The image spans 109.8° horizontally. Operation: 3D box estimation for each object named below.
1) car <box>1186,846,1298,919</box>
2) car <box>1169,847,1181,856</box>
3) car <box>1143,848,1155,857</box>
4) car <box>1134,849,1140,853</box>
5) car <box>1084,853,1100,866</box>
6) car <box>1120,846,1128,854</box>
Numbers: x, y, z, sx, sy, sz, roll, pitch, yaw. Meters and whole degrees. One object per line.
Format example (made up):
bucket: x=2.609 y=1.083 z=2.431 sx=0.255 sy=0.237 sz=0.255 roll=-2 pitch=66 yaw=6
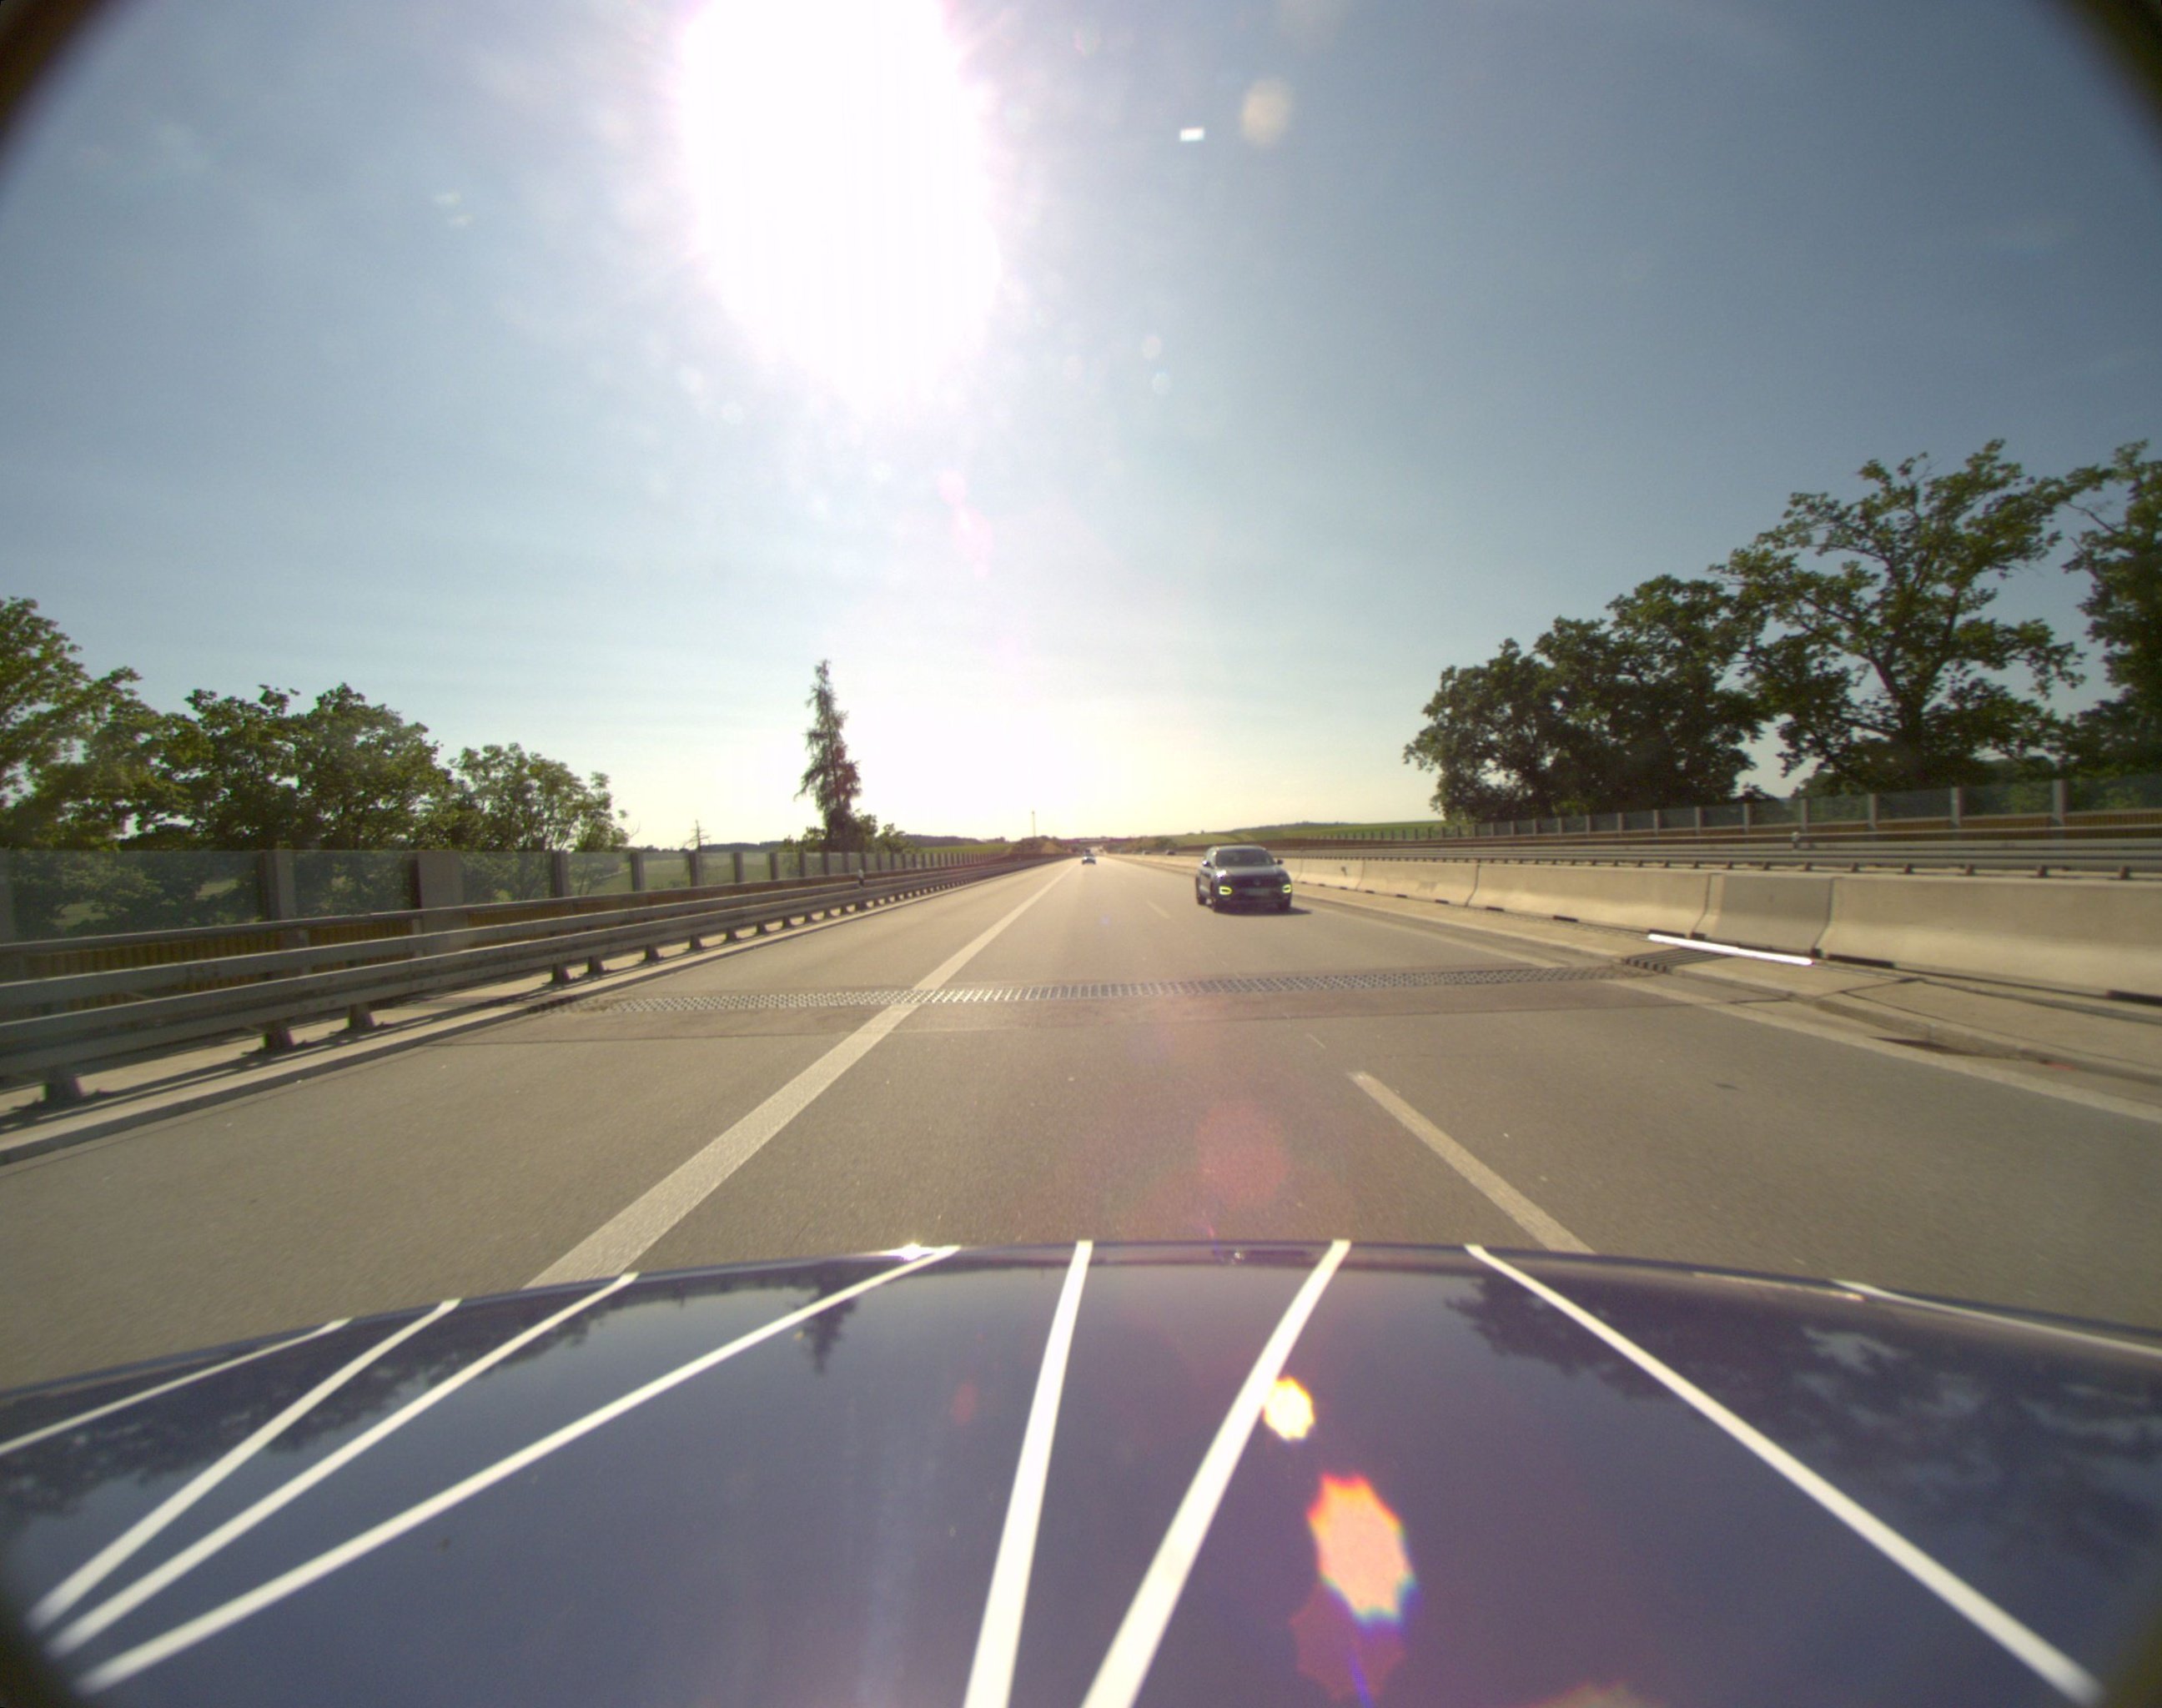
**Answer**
car: x=3.958 y=0.626 z=19.528 sx=1.776 sy=1.560 sz=4.988 roll=-2 pitch=0 yaw=0
car: x=16.482 y=-0.401 z=133.738 sx=1.583 sy=1.449 sz=4.449 roll=-2 pitch=0 yaw=0
car: x=12.340 y=-0.289 z=138.861 sx=1.731 sy=1.494 sz=4.624 roll=-2 pitch=0 yaw=0
car: x=19.055 y=-1.045 z=258.984 sx=1.651 sy=1.500 sz=4.332 roll=-2 pitch=0 yaw=1
car: x=1.457 y=0.707 z=99.172 sx=1.909 sy=1.449 sz=4.376 roll=-2 pitch=0 yaw=2
car: x=13.717 y=-1.265 z=240.952 sx=2.028 sy=2.654 sz=6.486 roll=-2 pitch=0 yaw=0
